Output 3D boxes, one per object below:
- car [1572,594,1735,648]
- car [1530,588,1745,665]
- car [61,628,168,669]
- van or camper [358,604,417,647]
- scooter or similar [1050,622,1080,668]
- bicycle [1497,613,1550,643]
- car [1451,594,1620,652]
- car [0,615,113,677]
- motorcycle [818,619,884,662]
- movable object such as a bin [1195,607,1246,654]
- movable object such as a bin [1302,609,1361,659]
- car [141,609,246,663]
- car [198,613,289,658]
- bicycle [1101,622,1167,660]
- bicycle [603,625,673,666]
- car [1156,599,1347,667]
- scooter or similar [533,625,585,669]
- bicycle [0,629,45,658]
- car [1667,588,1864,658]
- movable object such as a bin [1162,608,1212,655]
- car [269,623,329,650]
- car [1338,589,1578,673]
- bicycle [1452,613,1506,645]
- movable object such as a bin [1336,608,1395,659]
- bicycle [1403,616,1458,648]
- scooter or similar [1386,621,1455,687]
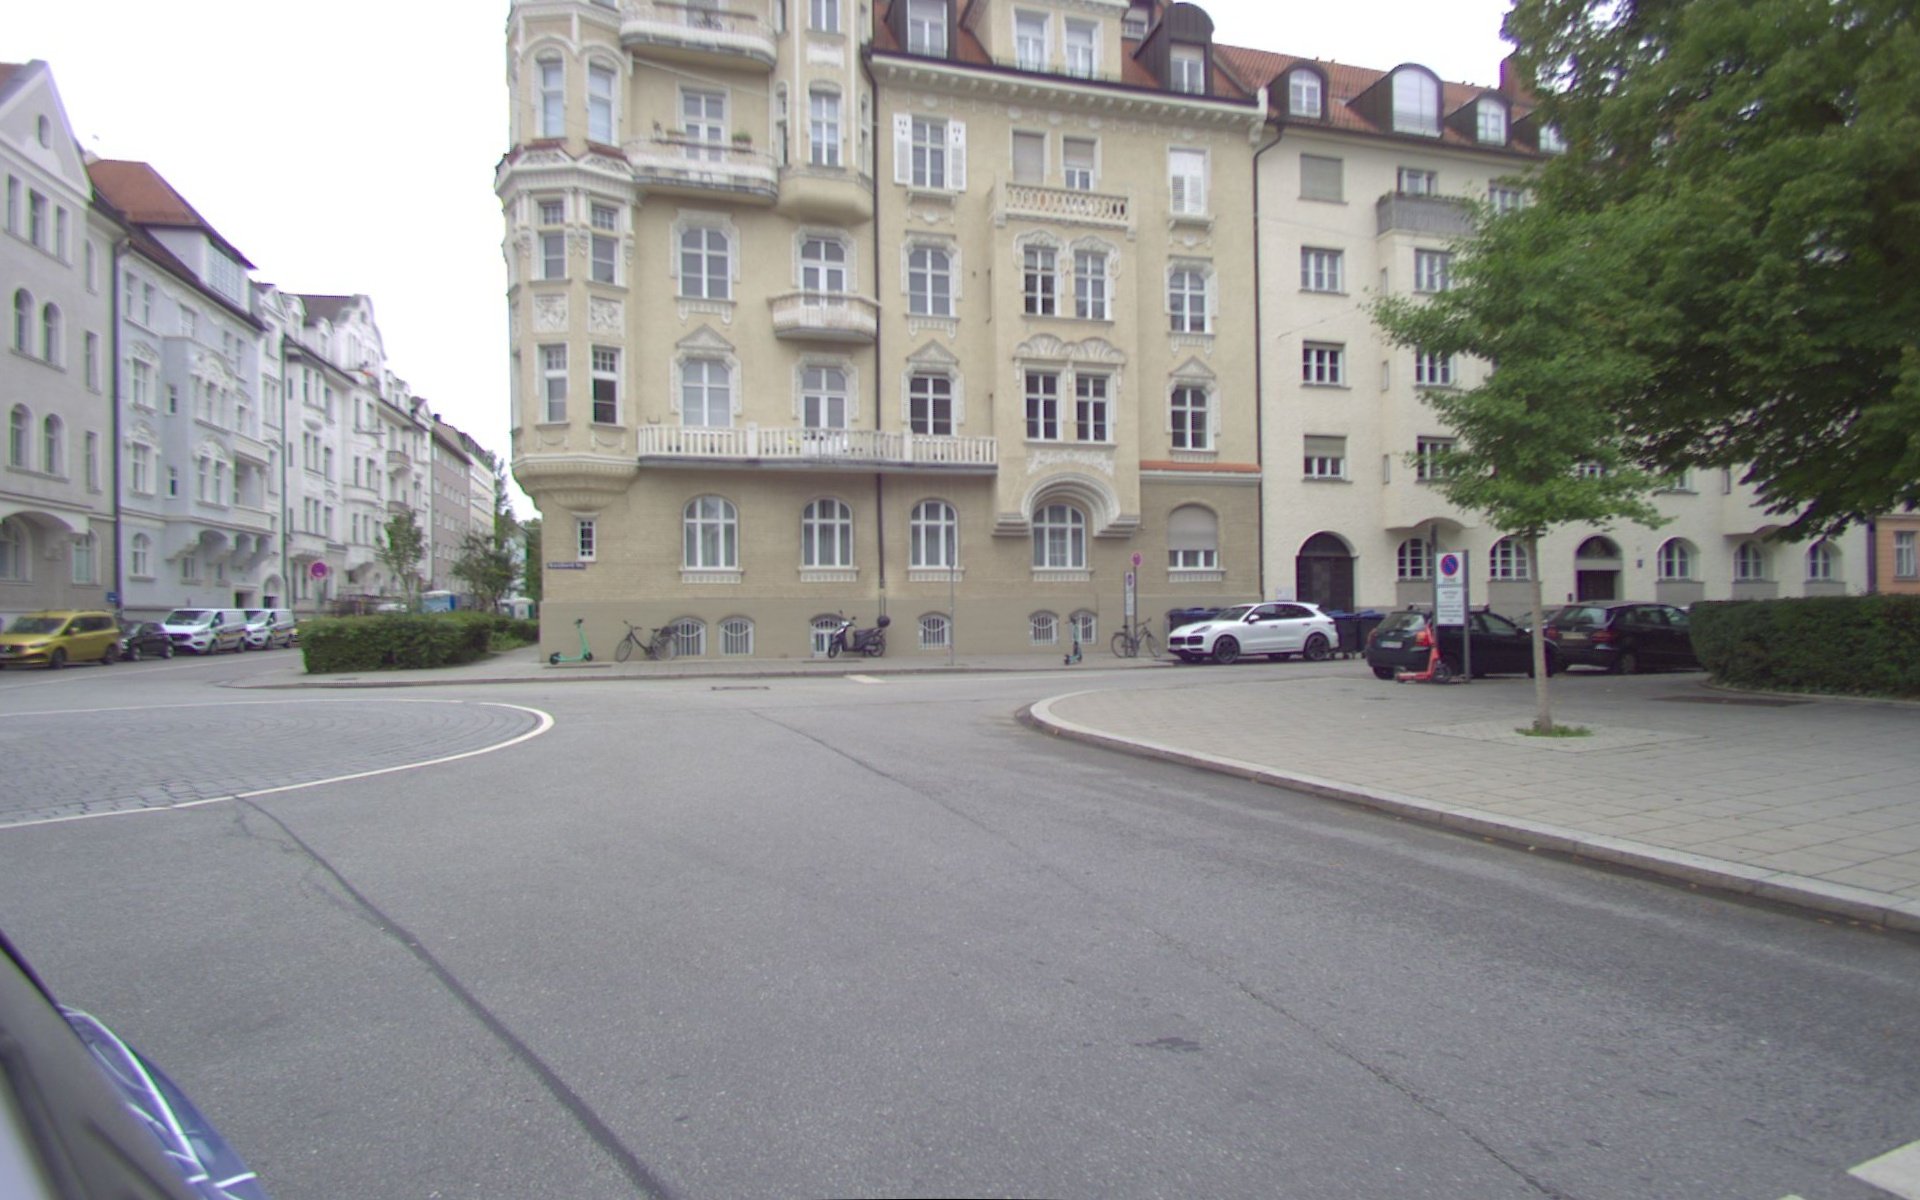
[{"bbox_3d":[22.356,0.658,32.674,4.333,1.593,1.987,-1,0,-15],"label":"car"},{"bbox_3d":[14.819,0.564,22.151,4.161,1.516,1.805,-1,-2,-22],"label":"car"},{"bbox_3d":[-30.763,1.729,36.933,1.668,1.356,3.549,-1,-1,-15],"label":"car"},{"bbox_3d":[-41.078,1.802,72.785,1.967,2.935,6.455,0,0,-14],"label":"van or camper"},{"bbox_3d":[2.828,1.192,27.113,0.464,1.202,1.206,-1,-1,22],"label":"scooter or similar"},{"bbox_3d":[20.306,1.008,36.490,1.799,1.057,0.566,-1,-1,-17],"label":"bicycle"},{"bbox_3d":[17.766,0.668,31.263,4.631,1.628,1.988,-1,0,-20],"label":"car"},{"bbox_3d":[-29.233,1.429,32.077,1.993,1.852,4.146,-1,-1,-13],"label":"car"},{"bbox_3d":[-3.149,1.156,29.331,1.799,1.185,0.602,-1,-1,-17],"label":"motorcycle"},{"bbox_3d":[8.300,0.969,32.287,1.154,1.436,1.097,-1,-1,-15],"label":"movable object such as a bin"},{"bbox_3d":[10.855,0.982,29.618,1.154,1.436,1.097,-1,-1,-15],"label":"movable object such as a bin"},{"bbox_3d":[-32.298,1.485,42.838,2.088,2.108,4.837,-1,-1,-18],"label":"car"},{"bbox_3d":[-34.324,1.658,48.629,2.088,2.009,4.836,-1,-1,-16],"label":"car"},{"bbox_3d":[5.053,1.184,29.444,1.799,1.057,0.566,-1,-1,-17],"label":"bicycle"},{"bbox_3d":[-8.831,1.250,27.794,1.799,1.057,0.566,-1,-1,-17],"label":"bicycle"},{"bbox_3d":[8.077,0.873,28.106,4.757,1.713,1.988,-1,0,-17],"label":"car"},{"bbox_3d":[-10.692,1.230,26.986,0.467,1.124,1.199,-1,-1,41],"label":"scooter or similar"},{"bbox_3d":[-35.728,1.652,38.539,0.483,1.057,1.835,-1,-1,-14],"label":"bicycle"},{"bbox_3d":[18.989,0.541,23.883,4.044,1.516,1.805,-1,-2,-22],"label":"car"},{"bbox_3d":[7.161,0.989,31.988,1.154,1.436,1.097,-1,-1,-15],"label":"movable object such as a bin"},{"bbox_3d":[-35.399,1.941,54.280,1.668,1.356,3.549,-1,-1,-15],"label":"car"},{"bbox_3d":[9.986,0.598,20.304,4.345,1.516,1.830,-1,-2,-22],"label":"car"},{"bbox_3d":[18.410,1.018,35.900,1.799,1.057,0.566,-1,-1,-17],"label":"bicycle"},{"bbox_3d":[11.984,0.975,29.928,1.154,1.436,1.097,-1,-1,-15],"label":"movable object such as a bin"},{"bbox_3d":[16.419,1.103,35.308,1.799,1.057,0.566,-1,-1,-17],"label":"bicycle"},{"bbox_3d":[7.992,0.919,17.571,0.385,1.097,1.003,0,-1,-44],"label":"scooter or similar"}]
